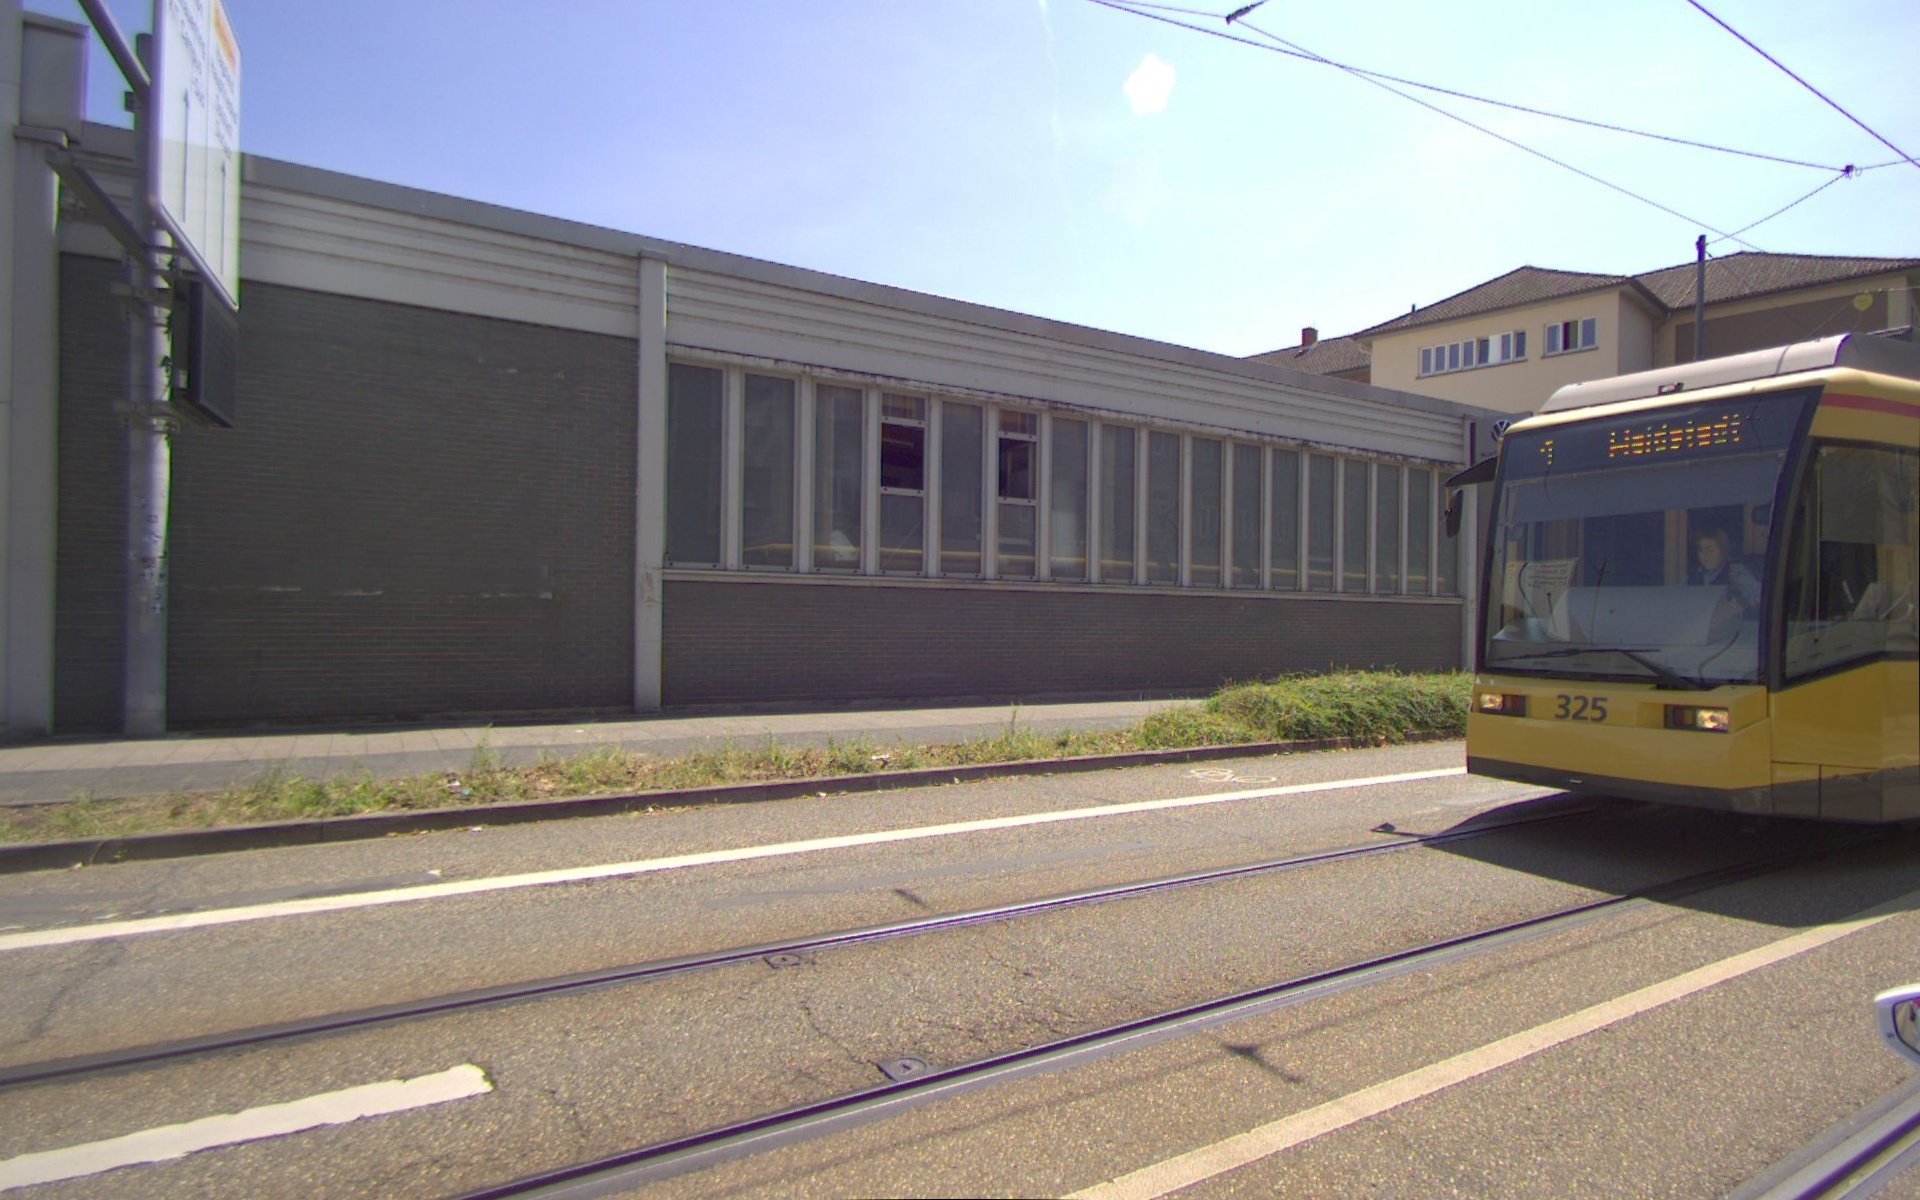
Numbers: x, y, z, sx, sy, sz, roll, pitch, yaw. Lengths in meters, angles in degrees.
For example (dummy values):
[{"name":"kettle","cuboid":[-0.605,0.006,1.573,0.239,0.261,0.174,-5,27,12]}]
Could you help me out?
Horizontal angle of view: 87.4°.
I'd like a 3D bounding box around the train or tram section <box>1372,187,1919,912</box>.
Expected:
[{"name":"train or tram section","cuboid":[9.514,-0.126,9.773,13.271,3.628,2.945,1,-1,-32]}]
